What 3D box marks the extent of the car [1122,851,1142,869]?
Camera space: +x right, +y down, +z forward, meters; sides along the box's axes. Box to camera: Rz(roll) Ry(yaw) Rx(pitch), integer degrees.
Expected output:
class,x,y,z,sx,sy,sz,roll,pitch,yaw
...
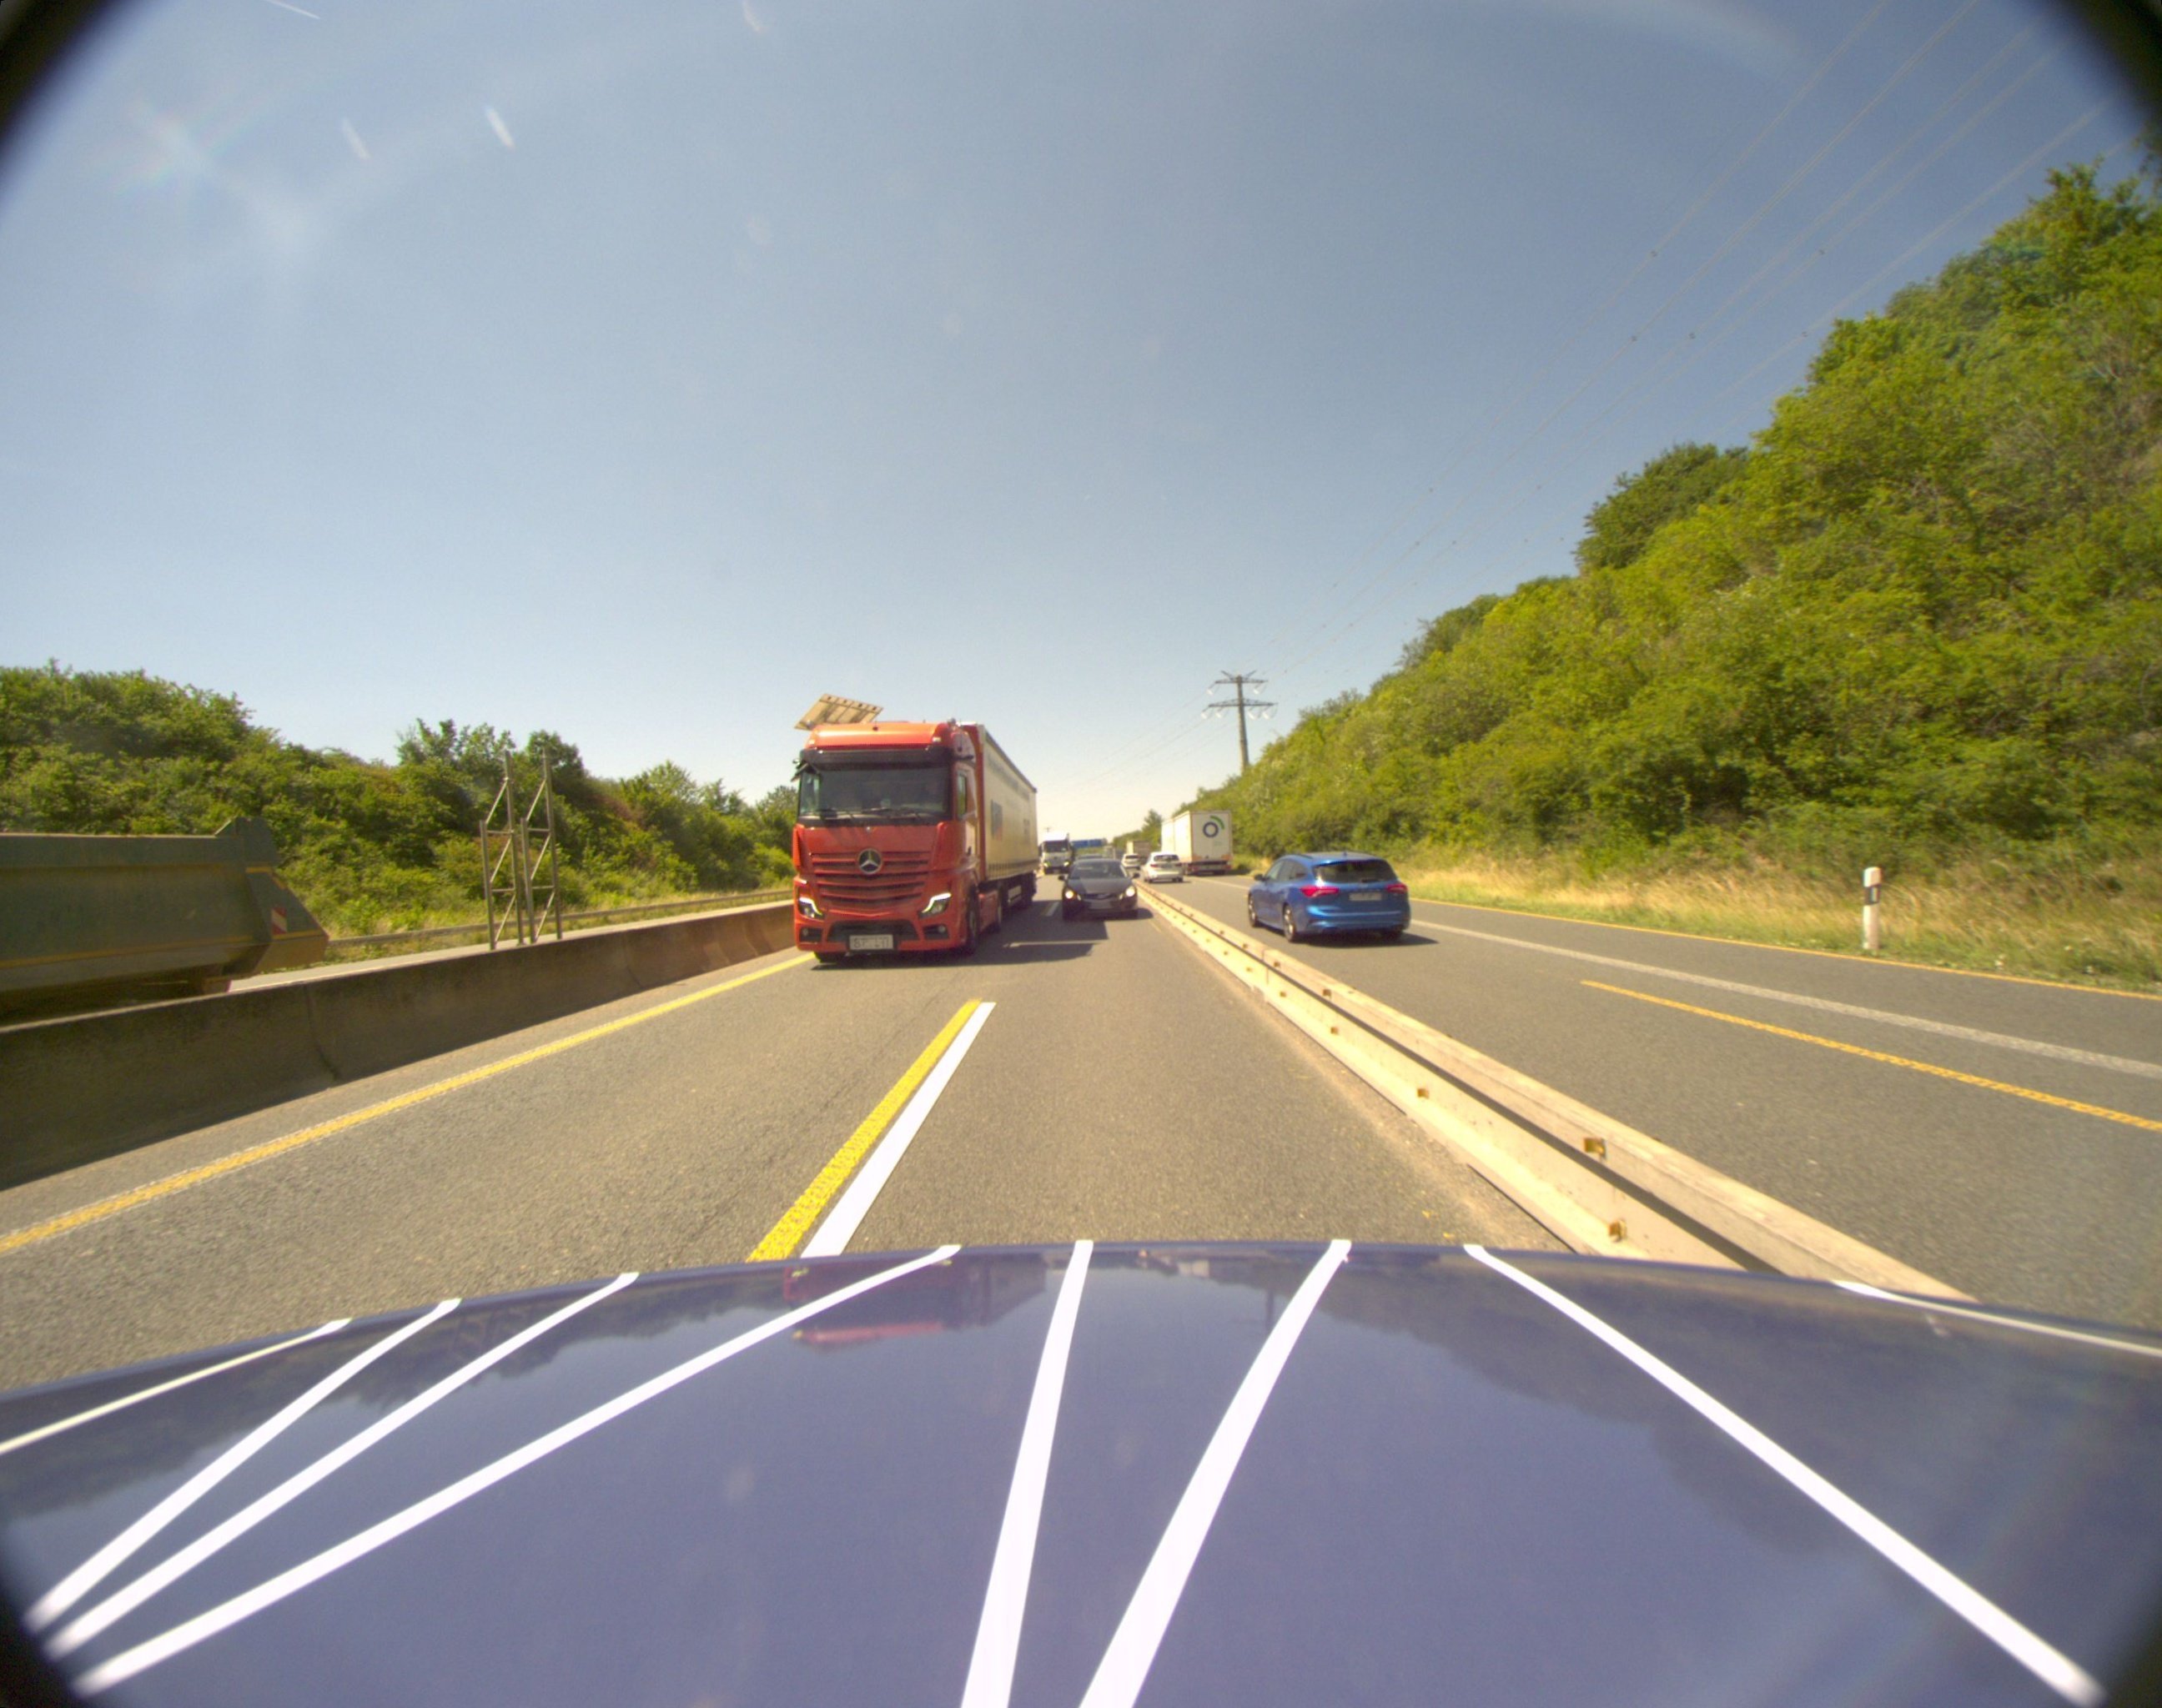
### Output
class,x,y,z,sx,sy,sz,roll,pitch,yaw
car,5.090,0.559,75.126,1.829,1.621,4.151,-2,1,4

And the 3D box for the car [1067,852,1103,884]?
class,x,y,z,sx,sy,sz,roll,pitch,yaw
car,0.256,0.733,41.878,1.767,1.523,4.699,-3,1,1

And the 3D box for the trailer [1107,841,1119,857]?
class,x,y,z,sx,sy,sz,roll,pitch,yaw
trailer,8.857,-1.268,210.981,2.899,4.101,13.244,-4,0,1

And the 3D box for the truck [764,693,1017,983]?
class,x,y,z,sx,sy,sz,roll,pitch,yaw
truck,-2.983,-0.252,14.125,2.689,3.987,6.725,-3,1,1

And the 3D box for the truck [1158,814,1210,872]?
class,x,y,z,sx,sy,sz,roll,pitch,yaw
truck,7.866,-0.795,59.307,2.416,3.969,10.351,-3,0,0

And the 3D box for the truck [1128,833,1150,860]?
class,x,y,z,sx,sy,sz,roll,pitch,yaw
truck,9.036,-1.151,119.603,2.656,3.969,9.650,-4,0,1

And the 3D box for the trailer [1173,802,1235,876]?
class,x,y,z,sx,sy,sz,roll,pitch,yaw
trailer,7.922,-0.917,49.892,2.644,4.287,8.447,-3,0,1

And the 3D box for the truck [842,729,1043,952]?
class,x,y,z,sx,sy,sz,roll,pitch,yaw
truck,-2.878,-0.306,20.622,2.689,3.987,13.217,-3,1,1

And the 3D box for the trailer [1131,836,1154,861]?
class,x,y,z,sx,sy,sz,roll,pitch,yaw
trailer,8.836,-0.789,110.327,2.657,3.317,8.919,-4,0,1

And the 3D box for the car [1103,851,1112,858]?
class,x,y,z,sx,sy,sz,roll,pitch,yaw
car,6.453,0.147,185.768,1.846,1.481,4.510,-1,1,0

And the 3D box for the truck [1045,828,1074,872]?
class,x,y,z,sx,sy,sz,roll,pitch,yaw
truck,-2.076,-0.396,77.130,2.481,4.030,13.109,-3,0,0

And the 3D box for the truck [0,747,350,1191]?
class,x,y,z,sx,sy,sz,roll,pitch,yaw
truck,-9.797,0.954,4.186,2.539,3.490,9.096,-3,0,0

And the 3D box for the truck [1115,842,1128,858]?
class,x,y,z,sx,sy,sz,roll,pitch,yaw
truck,9.352,-0.885,175.389,2.412,3.312,7.496,-3,2,-1

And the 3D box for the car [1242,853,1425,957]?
class,x,y,z,sx,sy,sz,roll,pitch,yaw
car,4.132,0.739,13.179,1.717,1.417,4.169,-3,1,0

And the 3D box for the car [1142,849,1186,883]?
class,x,y,z,sx,sy,sz,roll,pitch,yaw
car,4.337,0.599,40.316,1.767,1.622,4.296,-3,1,0

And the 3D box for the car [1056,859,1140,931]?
class,x,y,z,sx,sy,sz,roll,pitch,yaw
car,0.412,0.917,18.972,1.767,1.411,4.699,-3,1,1
